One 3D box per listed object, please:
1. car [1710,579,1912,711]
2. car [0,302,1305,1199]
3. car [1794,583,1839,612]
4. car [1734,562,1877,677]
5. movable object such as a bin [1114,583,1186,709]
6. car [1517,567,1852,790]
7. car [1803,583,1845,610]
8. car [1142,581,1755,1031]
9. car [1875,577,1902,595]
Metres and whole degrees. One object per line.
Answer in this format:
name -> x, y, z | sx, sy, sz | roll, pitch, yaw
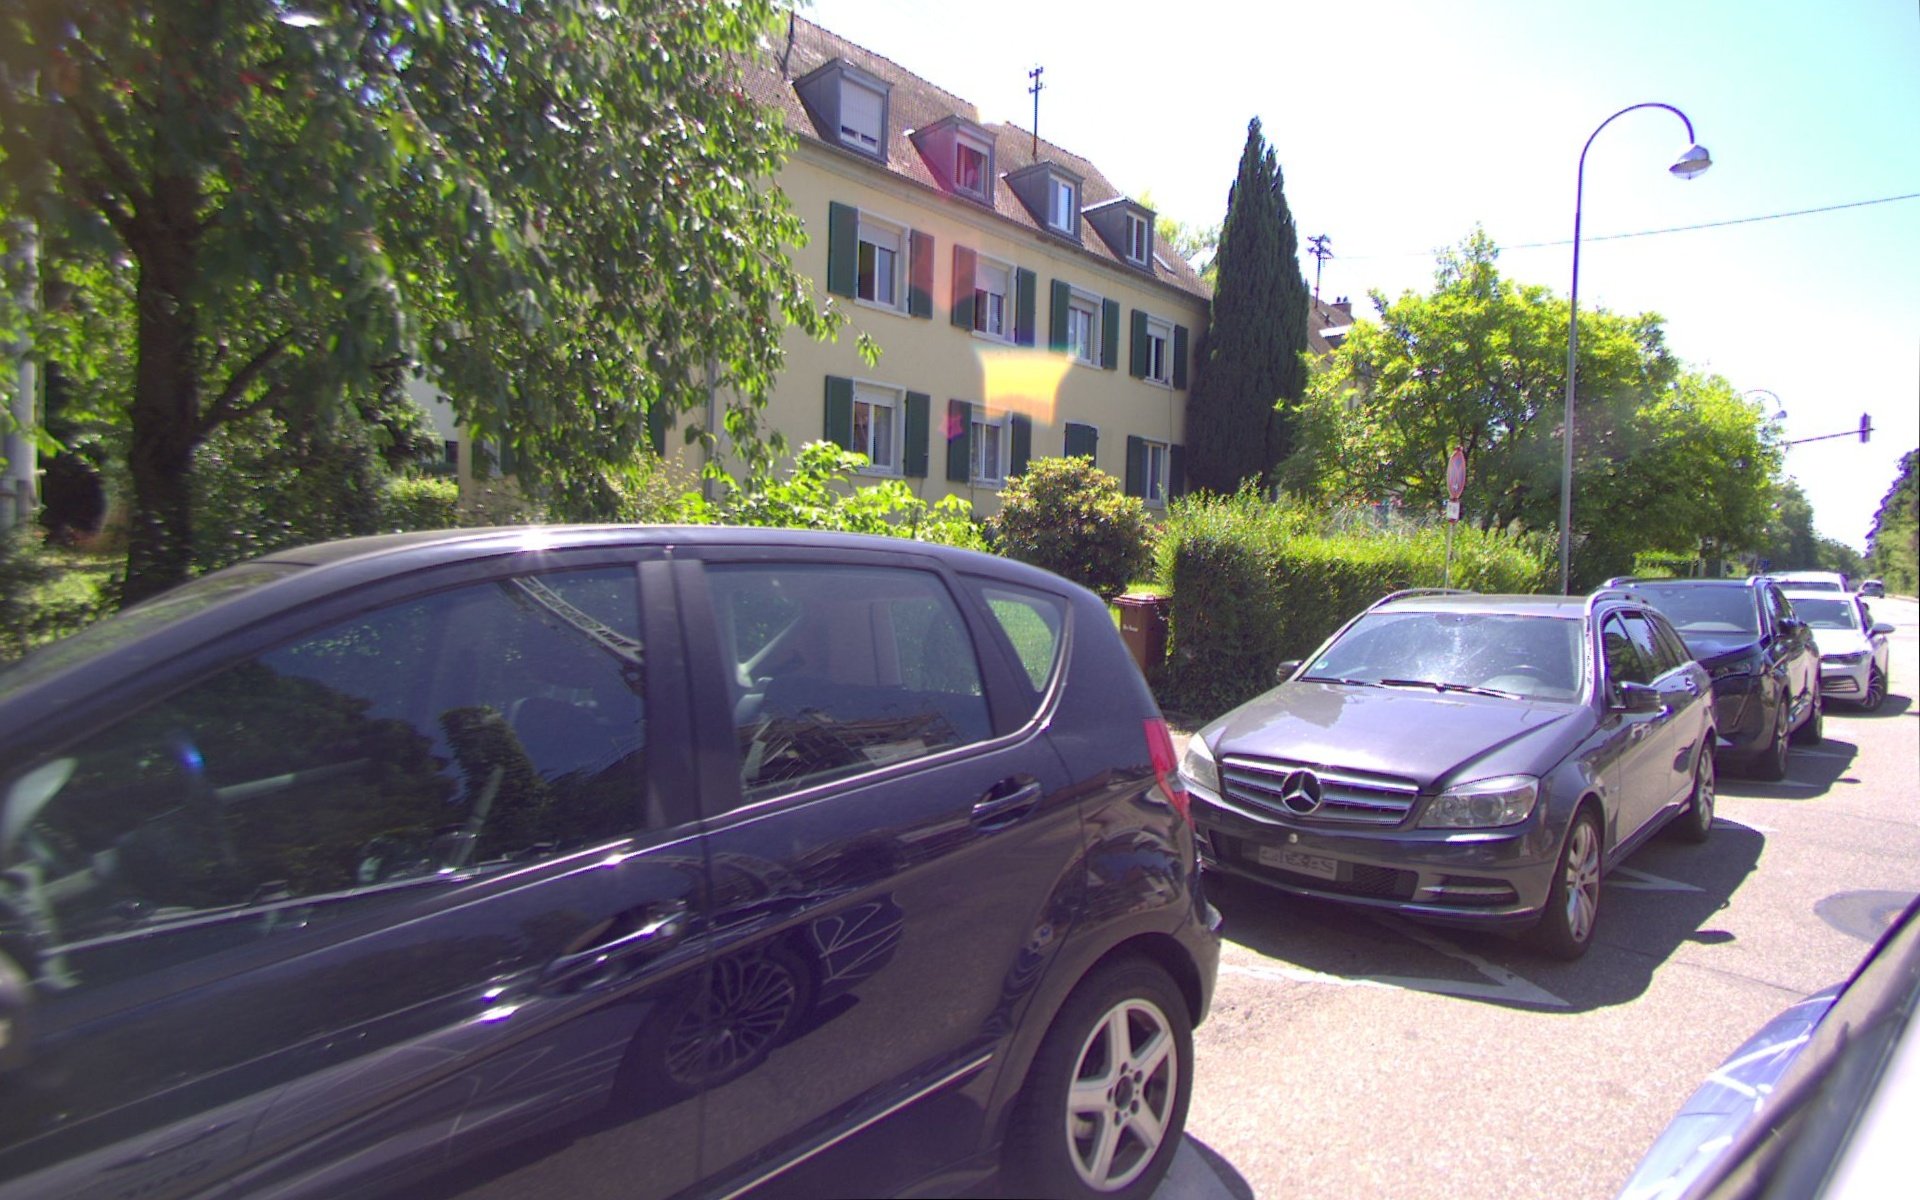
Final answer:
car -> 11.486, 0.501, 13.564 | 4.062, 1.453, 1.662 | -2, 0, -44
car -> -1.075, 0.483, 1.974 | 3.939, 1.595, 1.584 | -1, 1, -41
car -> 46.061, -0.157, 54.478 | 1.663, 1.484, 3.946 | 1, 1, 38
car -> 15.179, 0.267, 18.092 | 1.661, 1.826, 4.137 | -2, 0, 44
movable object such as a bin -> 1.900, 0.439, 10.137 | 0.480, 1.185, 0.426 | 7, 5, 39
car -> 6.663, 0.518, 9.121 | 4.133, 1.558, 1.663 | -1, 1, -43
car -> 49.505, -0.168, 58.041 | 1.663, 1.454, 3.944 | -2, -2, 38
car -> 2.863, 0.646, 5.404 | 4.135, 1.449, 1.663 | -2, 2, -45
car -> 85.889, -1.299, 93.678 | 1.651, 1.581, 3.828 | 4, 4, 41
